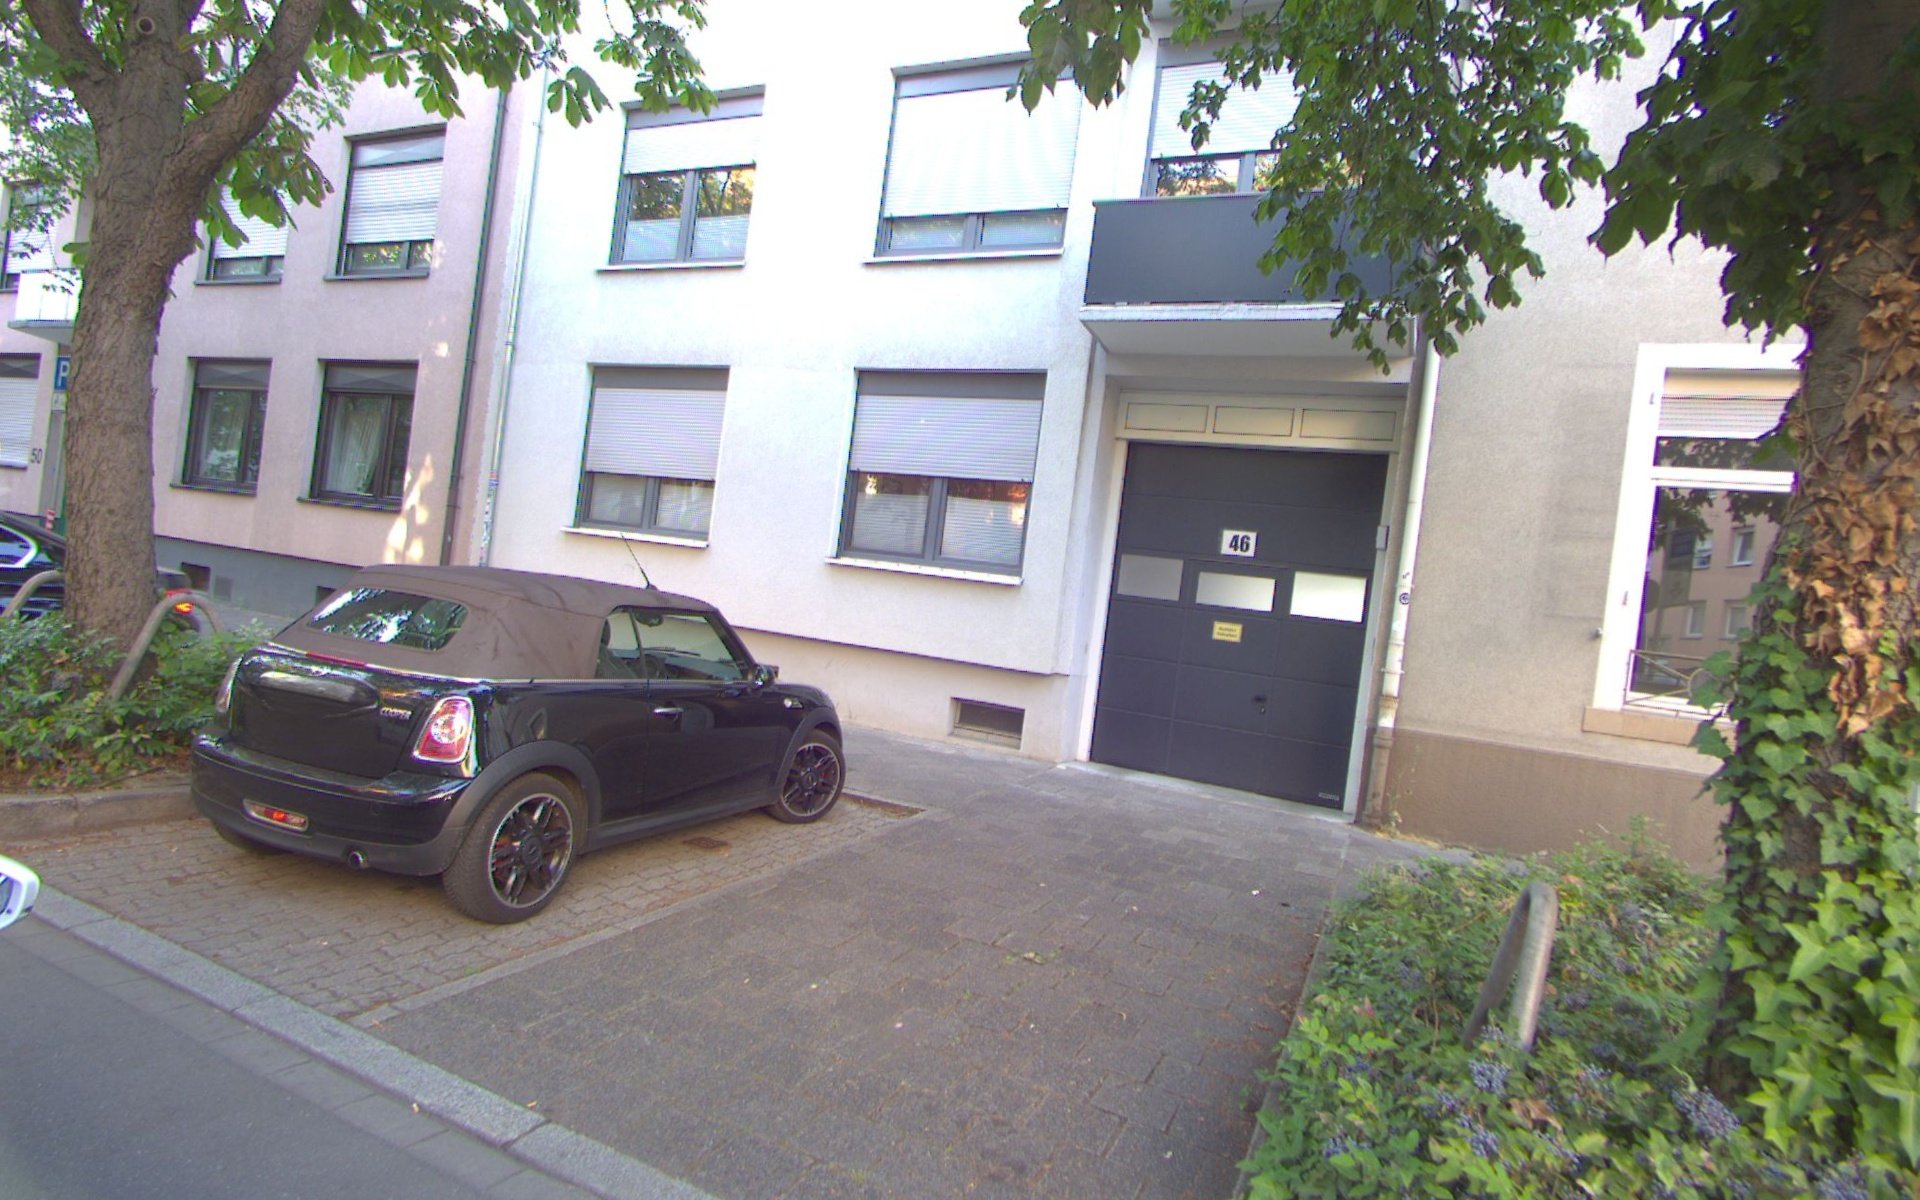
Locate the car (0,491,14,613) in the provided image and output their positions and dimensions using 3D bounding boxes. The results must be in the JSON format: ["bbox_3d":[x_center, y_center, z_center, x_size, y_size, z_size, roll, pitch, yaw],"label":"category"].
[{"bbox_3d":[-13.354,-0.805,11.039,1.634,1.494,3.921,7,-1,24],"label":"car"}]

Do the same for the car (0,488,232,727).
[{"bbox_3d":[-7.358,-0.134,5.769,1.770,1.497,4.752,7,-1,31],"label":"car"}]

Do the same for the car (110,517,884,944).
[{"bbox_3d":[-2.023,0.550,5.531,1.634,1.380,3.622,7,-1,22],"label":"car"}]
